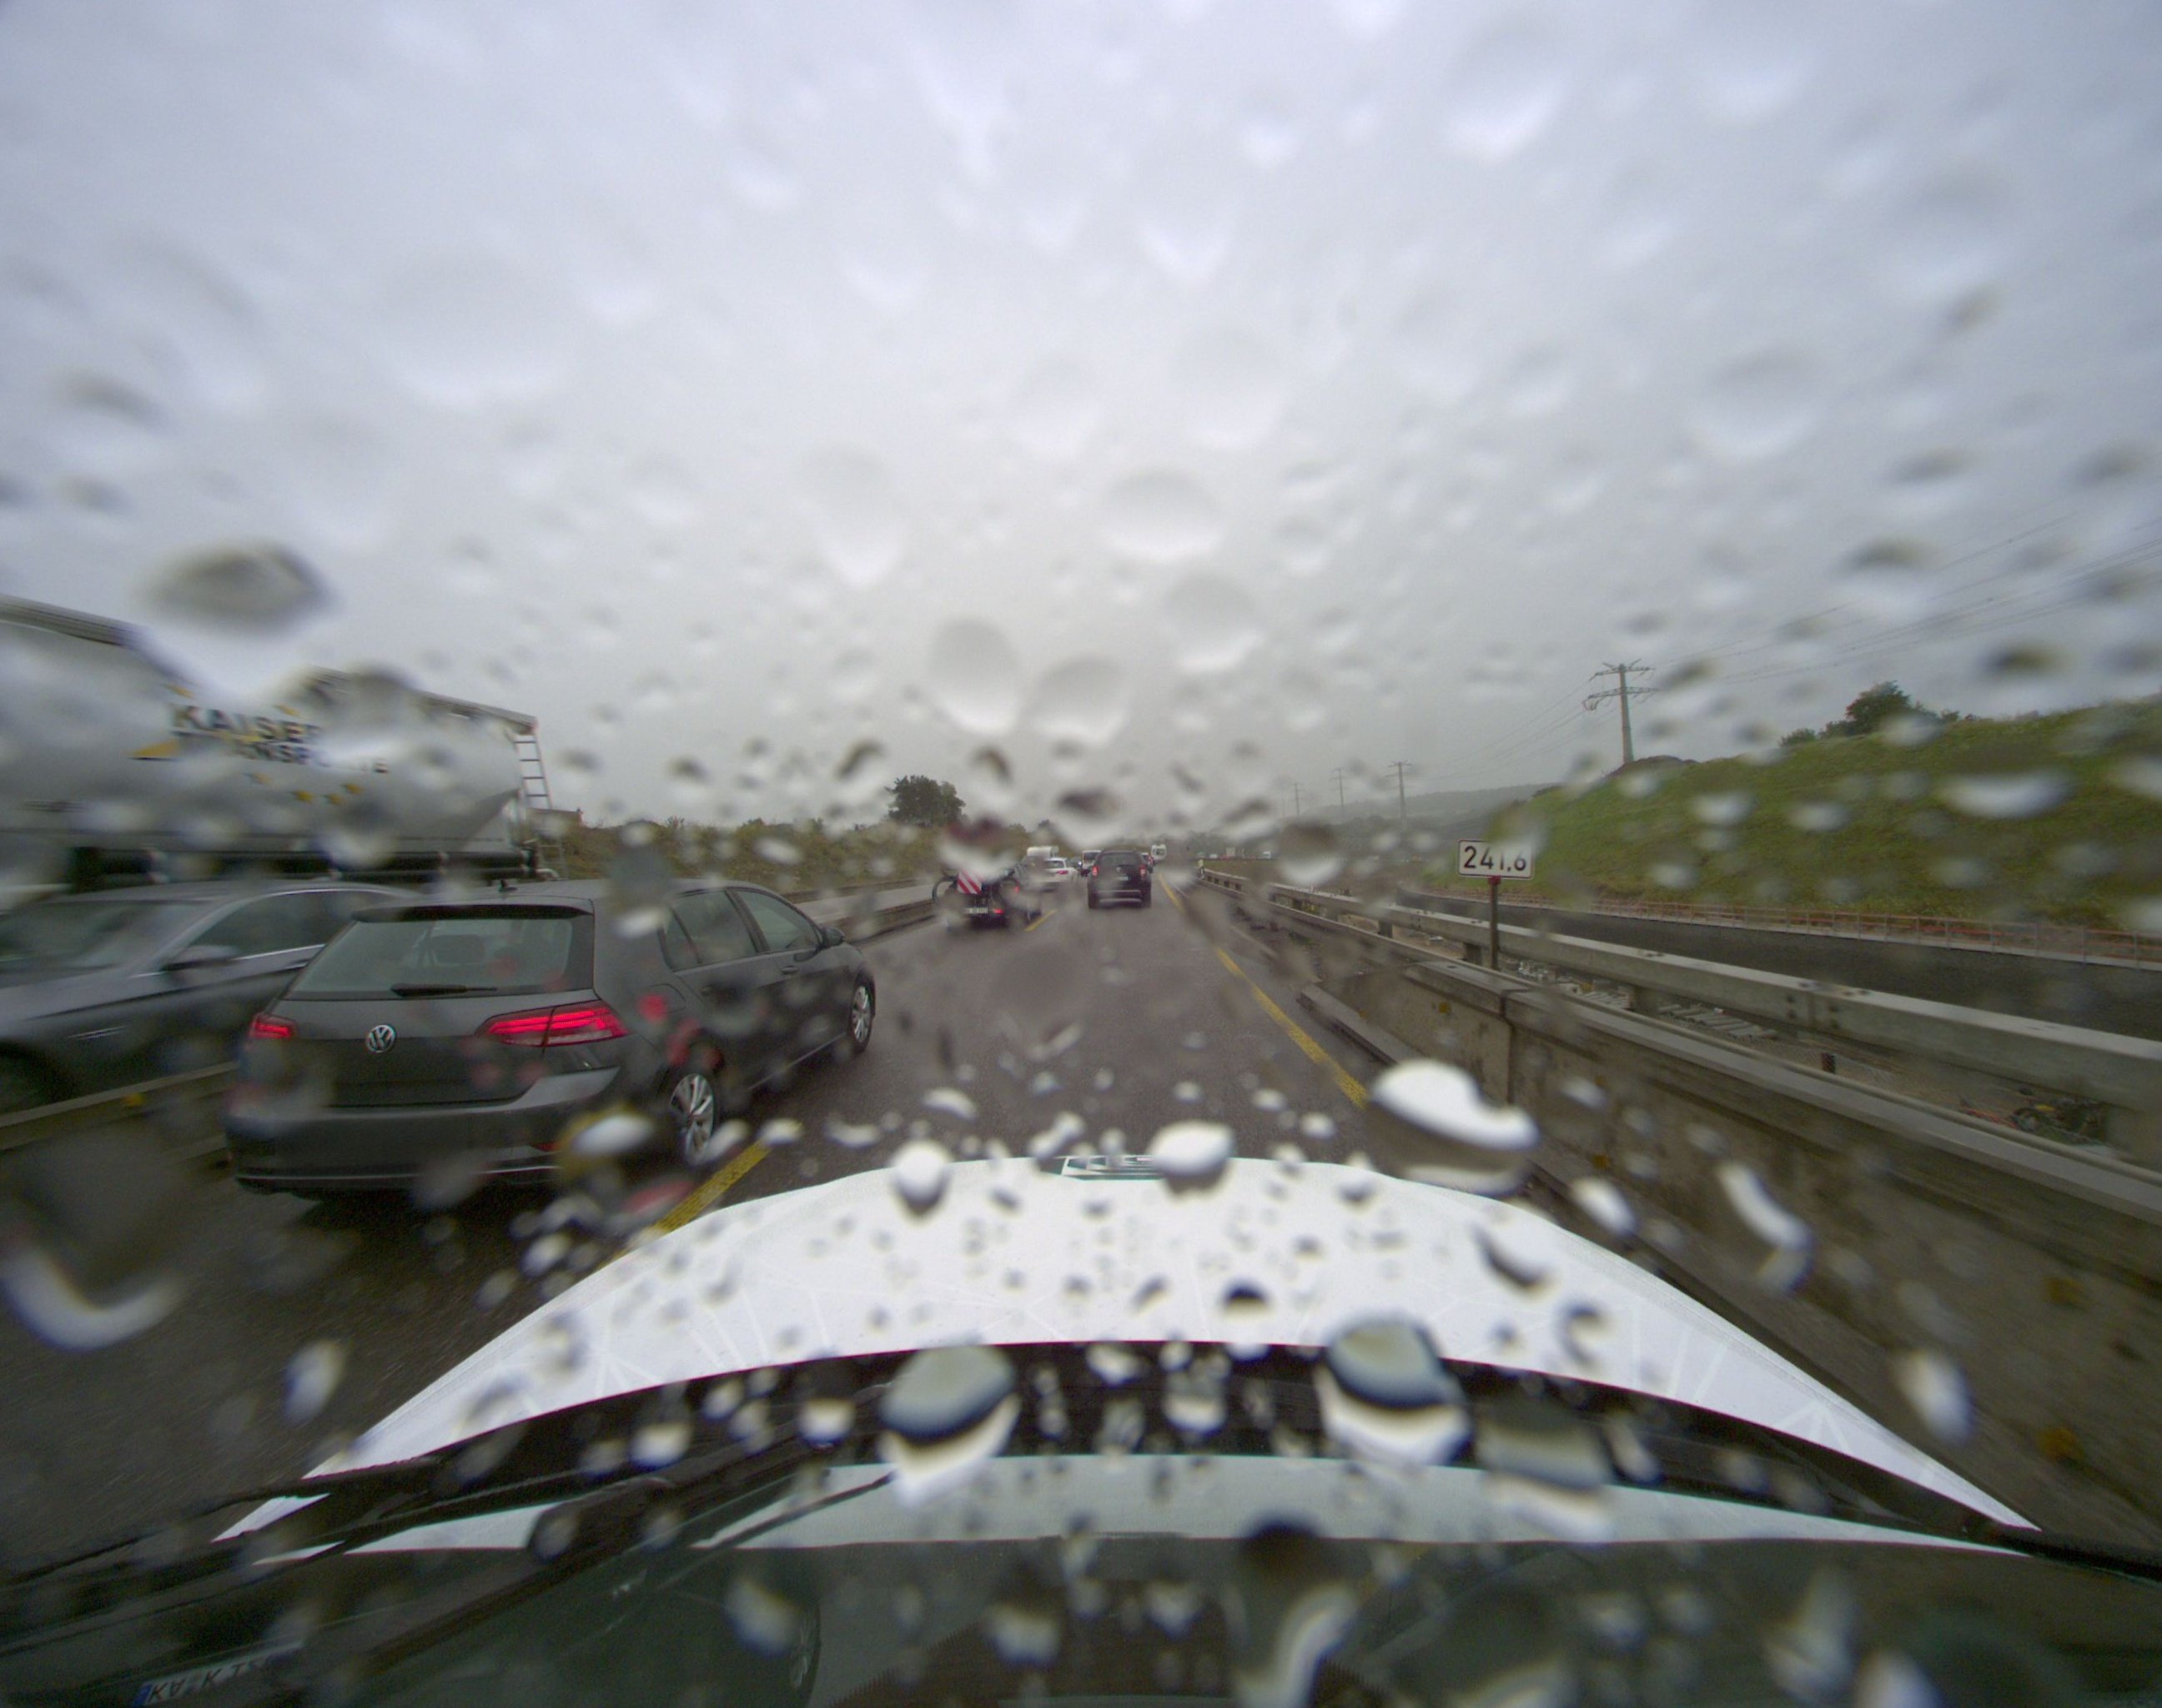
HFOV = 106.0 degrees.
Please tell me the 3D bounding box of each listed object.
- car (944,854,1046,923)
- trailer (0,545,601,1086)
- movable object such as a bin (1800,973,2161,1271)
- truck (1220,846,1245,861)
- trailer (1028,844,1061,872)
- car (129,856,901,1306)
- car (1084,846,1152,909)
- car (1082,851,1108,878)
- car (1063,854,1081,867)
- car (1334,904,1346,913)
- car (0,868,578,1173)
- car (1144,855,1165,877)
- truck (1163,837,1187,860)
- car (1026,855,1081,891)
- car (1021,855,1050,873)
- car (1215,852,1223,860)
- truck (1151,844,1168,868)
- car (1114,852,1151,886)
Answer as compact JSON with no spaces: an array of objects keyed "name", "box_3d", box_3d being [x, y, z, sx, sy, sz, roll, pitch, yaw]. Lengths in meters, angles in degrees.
[{"name":"car","box_3d":[-1.972,0.770,19.774,1.821,1.476,3.779,-2,-1,3]},{"name":"trailer","box_3d":[-9.486,-0.238,7.126,3.242,3.964,11.543,-2,-1,2]},{"name":"movable object such as a bin","box_3d":[26.980,6.711,22.086,4.871,5.671,12.102,0,-3,5]},{"name":"truck","box_3d":[45.182,-0.082,241.839,4.678,4.150,15.761,-1,0,20]},{"name":"trailer","box_3d":[-3.474,0.367,78.781,2.500,2.564,7.168,-1,0,3]},{"name":"car","box_3d":[-2.495,0.819,5.069,1.608,1.506,4.369,-3,-1,1]},{"name":"car","box_3d":[1.166,0.645,23.882,1.796,1.646,3.781,-2,-1,5]},{"name":"car","box_3d":[1.044,0.753,58.976,1.653,1.880,4.023,0,0,3]},{"name":"car","box_3d":[-1.074,0.804,102.425,1.869,1.500,4.340,-1,1,4]},{"name":"car","box_3d":[60.447,12.713,190.099,2.350,2.014,4.012,-1,0,10]},{"name":"car","box_3d":[-6.134,0.893,5.860,1.796,1.439,4.952,-3,-1,1]},{"name":"car","box_3d":[5.643,0.899,62.803,1.524,1.640,4.017,0,0,4]},{"name":"truck","box_3d":[15.672,-0.839,135.438,3.180,3.761,8.535,-1,0,11]},{"name":"car","box_3d":[-1.126,0.798,35.522,1.859,1.460,4.554,0,0,5]},{"name":"car","box_3d":[-4.031,0.862,72.655,1.985,1.586,5.123,-1,0,3]},{"name":"car","box_3d":[33.363,0.447,196.731,1.762,1.916,4.015,-1,0,14]},{"name":"truck","box_3d":[10.408,0.276,108.403,2.139,3.166,6.467,0,0,4]},{"name":"car","box_3d":[2.726,0.768,43.120,1.860,1.708,4.004,-1,0,3]}]
